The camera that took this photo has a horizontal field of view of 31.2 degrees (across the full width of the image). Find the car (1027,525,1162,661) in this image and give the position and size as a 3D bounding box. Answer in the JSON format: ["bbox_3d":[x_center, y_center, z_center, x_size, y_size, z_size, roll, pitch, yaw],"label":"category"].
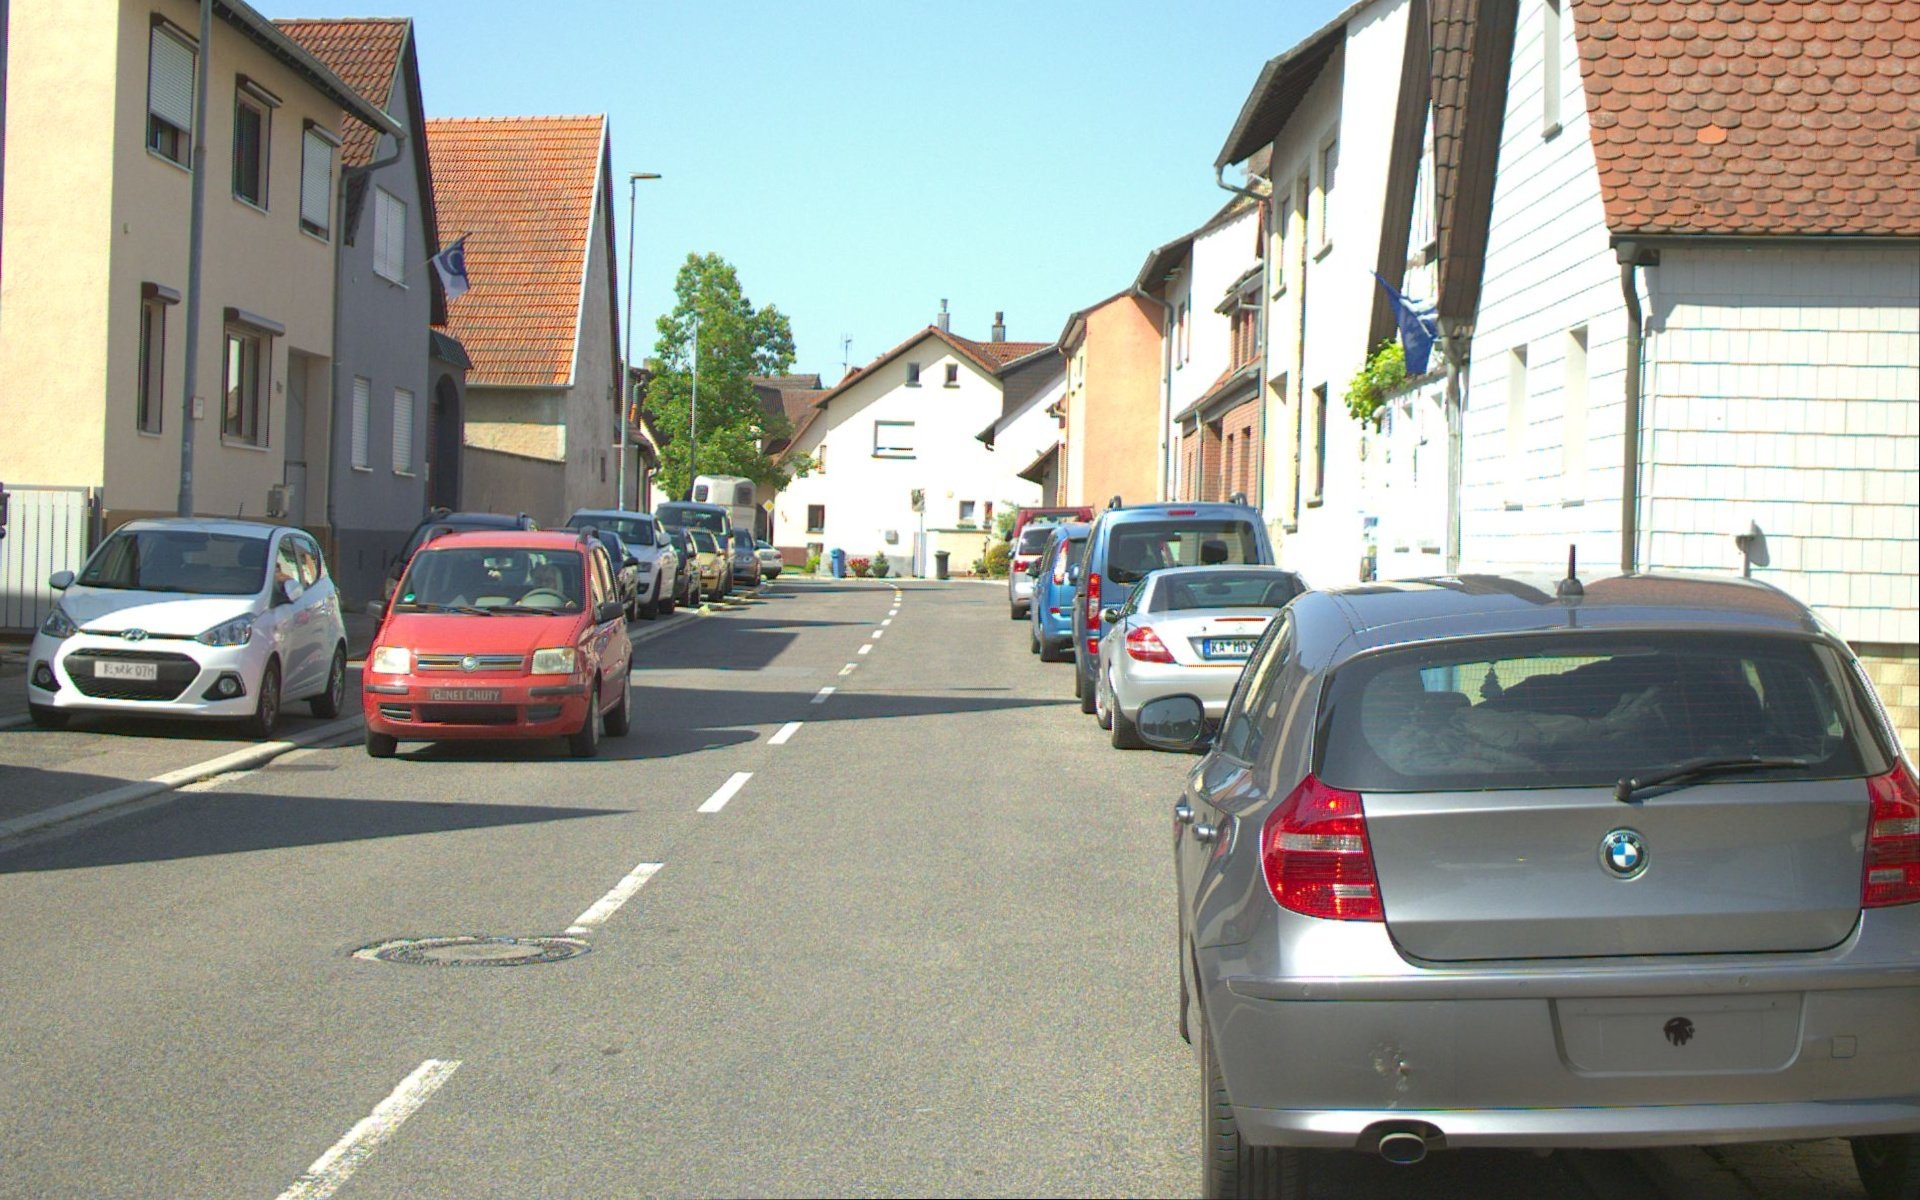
[{"bbox_3d":[1.583,-0.106,41.317,1.420,1.510,3.304,3,1,0],"label":"car"}]

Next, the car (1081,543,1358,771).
[{"bbox_3d":[1.841,0.368,25.346,1.704,1.491,3.452,3,1,0],"label":"car"}]

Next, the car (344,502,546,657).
[{"bbox_3d":[-5.727,-0.249,38.607,1.619,1.572,3.962,3,1,0],"label":"car"}]

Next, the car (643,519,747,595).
[{"bbox_3d":[-5.226,-0.849,68.196,1.754,1.437,4.000,1,0,-1],"label":"car"}]

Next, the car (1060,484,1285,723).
[{"bbox_3d":[1.808,0.004,30.209,1.649,1.903,3.626,3,1,0],"label":"car"}]

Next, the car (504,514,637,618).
[{"bbox_3d":[-5.754,-0.500,51.046,1.504,1.448,3.509,1,0,1],"label":"car"}]

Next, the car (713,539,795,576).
[{"bbox_3d":[-7.632,-1.566,126.812,1.993,1.284,4.001,1,1,-19],"label":"car"}]

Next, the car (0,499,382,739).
[{"bbox_3d":[-5.632,0.097,25.424,1.806,1.542,4.404,3,1,1],"label":"car"}]

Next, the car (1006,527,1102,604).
[{"bbox_3d":[1.808,-0.666,66.634,1.767,1.428,3.450,1,0,1],"label":"car"}]

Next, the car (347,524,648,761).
[{"bbox_3d":[-3.200,0.250,24.384,1.601,1.484,3.626,3,1,0],"label":"car"}]

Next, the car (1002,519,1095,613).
[{"bbox_3d":[1.495,-0.594,58.922,1.420,1.510,3.304,3,1,0],"label":"car"}]

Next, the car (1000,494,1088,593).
[{"bbox_3d":[1.760,-1.166,72.149,1.767,1.997,3.450,1,0,1],"label":"car"}]

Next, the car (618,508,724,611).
[{"bbox_3d":[-5.092,-0.728,60.896,1.527,1.707,3.626,3,1,0],"label":"car"}]

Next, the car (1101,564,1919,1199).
[{"bbox_3d":[1.297,0.636,8.664,1.704,1.428,3.890,0,1,0],"label":"car"}]

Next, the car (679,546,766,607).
[{"bbox_3d":[-5.876,-0.587,85.273,1.754,1.437,4.000,1,0,1],"label":"car"}]

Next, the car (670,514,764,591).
[{"bbox_3d":[-5.320,-1.042,75.698,1.754,1.619,4.000,1,0,0],"label":"car"}]

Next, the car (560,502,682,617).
[{"bbox_3d":[-5.380,-0.655,54.926,1.527,1.707,3.626,3,1,0],"label":"car"}]
